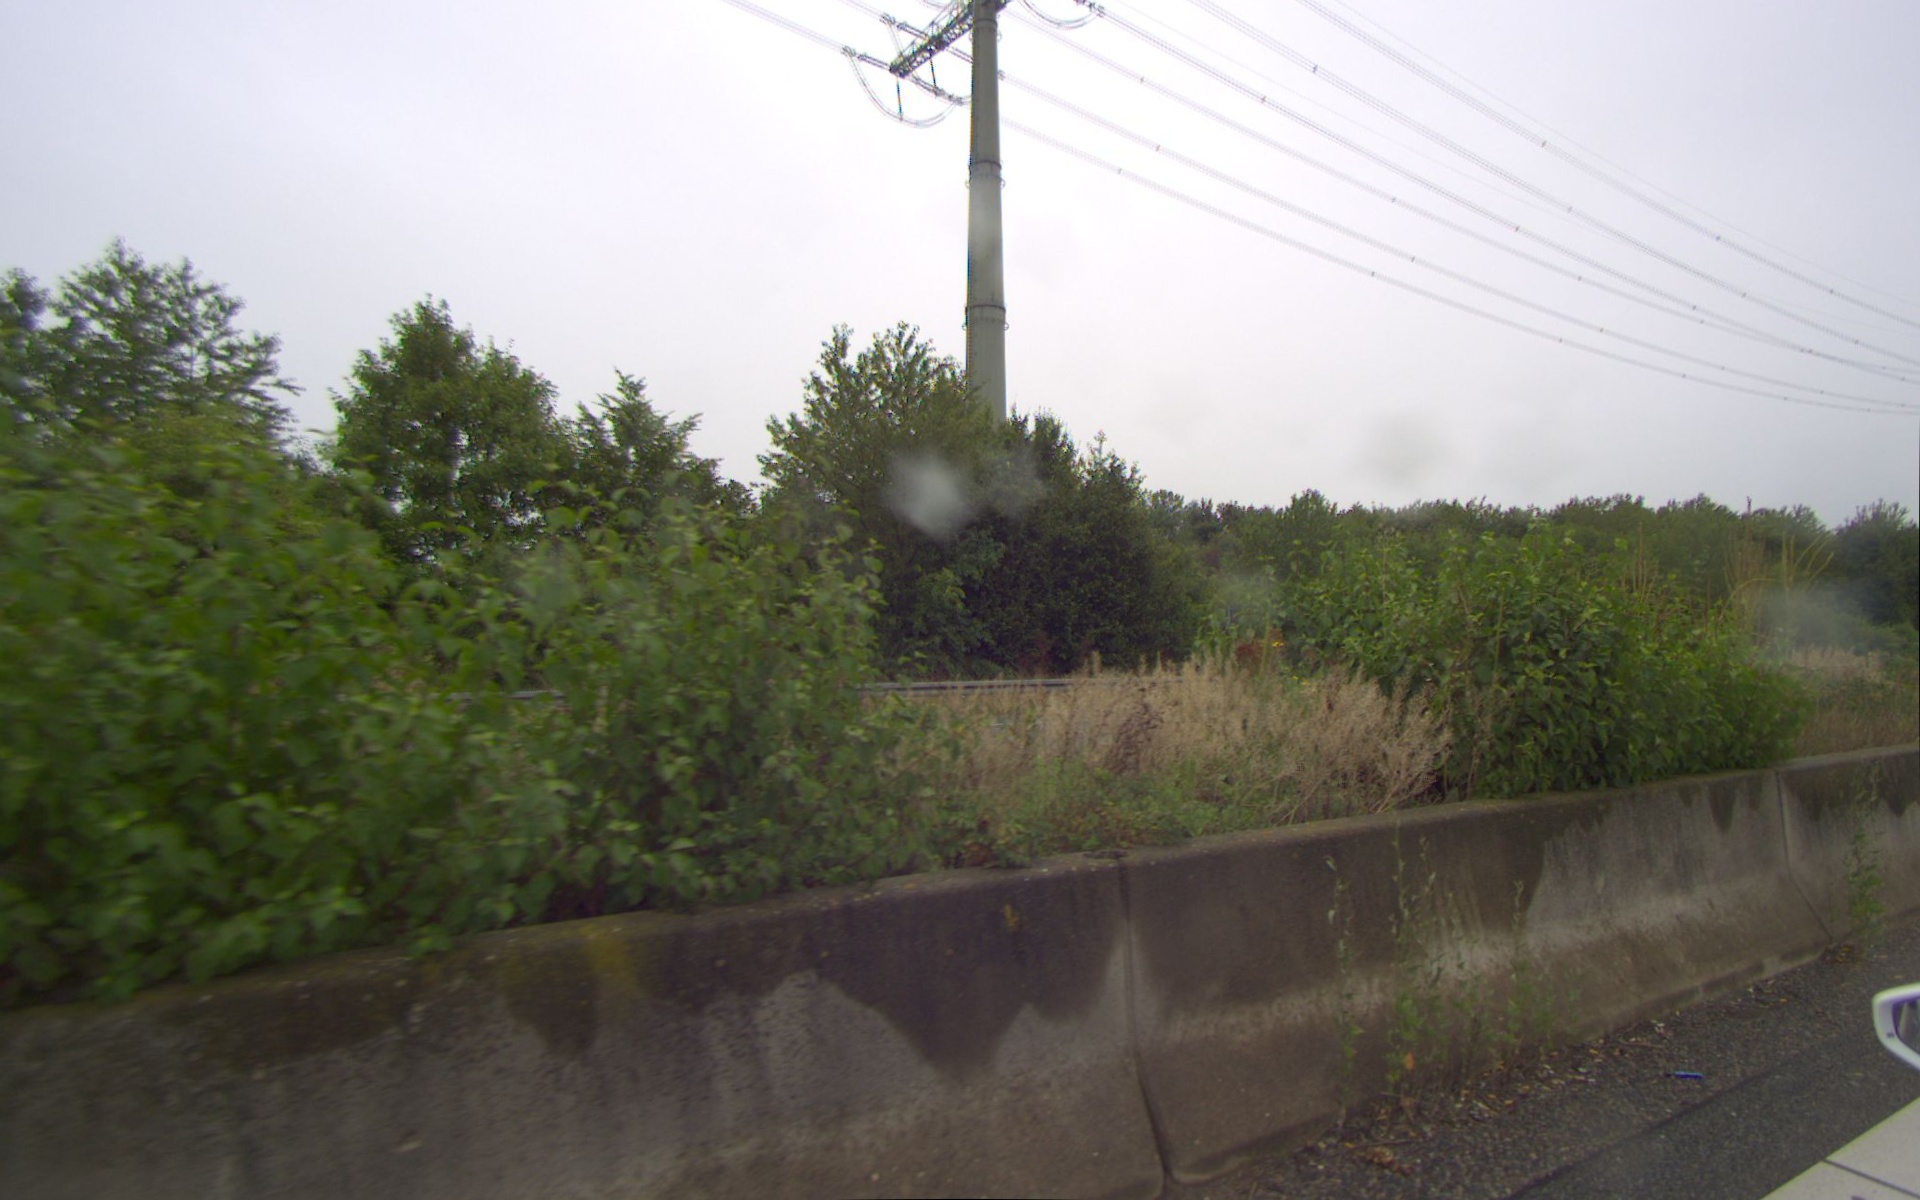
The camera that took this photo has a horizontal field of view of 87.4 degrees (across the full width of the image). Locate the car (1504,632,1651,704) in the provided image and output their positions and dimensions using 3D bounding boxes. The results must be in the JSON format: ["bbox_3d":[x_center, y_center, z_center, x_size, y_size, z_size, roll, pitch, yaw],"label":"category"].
[{"bbox_3d":[17.088,1.839,27.750,4.219,1.848,1.693,2,-3,-31],"label":"car"}]
